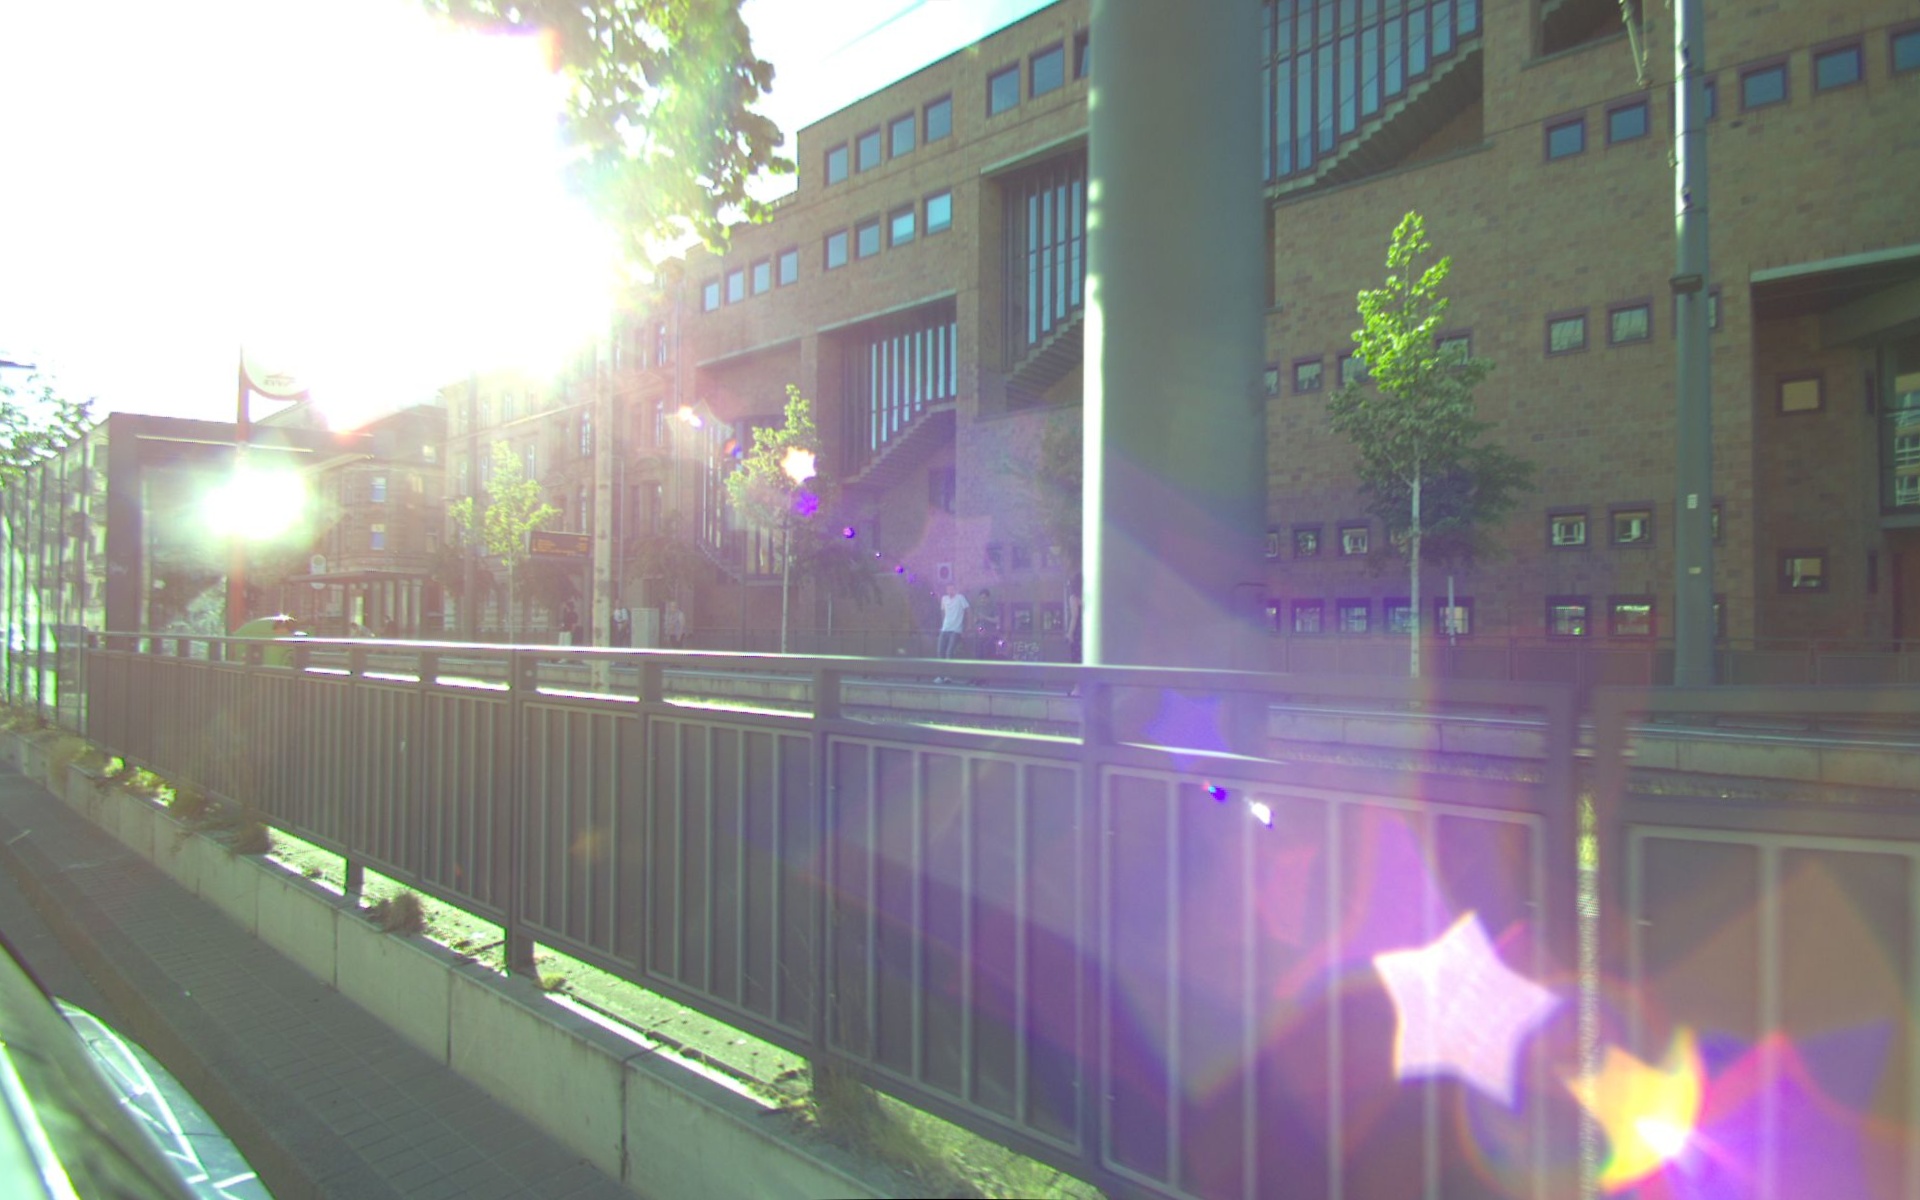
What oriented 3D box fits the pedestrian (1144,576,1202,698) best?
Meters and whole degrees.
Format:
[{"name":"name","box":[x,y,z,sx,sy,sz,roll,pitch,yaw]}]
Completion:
[{"name":"pedestrian","box":[3.142,0.533,14.924,0.616,1.751,0.575,-2,-1,41]}]

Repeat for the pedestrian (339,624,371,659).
[{"name":"pedestrian","box":[-20.923,1.445,34.995,0.721,1.177,0.713,-1,-4,41]}]

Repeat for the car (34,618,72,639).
[{"name":"car","box":[-86.889,2.754,96.941,4.577,1.894,1.975,-1,0,38]}]

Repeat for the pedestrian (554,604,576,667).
[{"name":"pedestrian","box":[-10.491,0.941,26.889,0.416,1.661,0.374,-2,0,41]}]

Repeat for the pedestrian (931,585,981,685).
[{"name":"pedestrian","box":[-0.063,0.609,17.930,0.616,1.728,0.616,-2,-1,41]}]

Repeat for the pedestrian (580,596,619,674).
[{"name":"pedestrian","box":[-8.124,0.784,22.806,0.541,1.708,0.633,-2,0,41]}]

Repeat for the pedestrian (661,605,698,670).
[{"name":"pedestrian","box":[-6.447,0.849,23.267,0.642,1.470,0.533,-2,0,41]}]

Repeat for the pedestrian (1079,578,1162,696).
[{"name":"pedestrian","box":[2.274,0.508,14.362,0.945,1.620,0.633,-2,0,42]}]

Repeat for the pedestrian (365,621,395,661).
[{"name":"pedestrian","box":[-19.329,1.361,33.724,0.721,1.319,0.639,-1,-4,41]}]

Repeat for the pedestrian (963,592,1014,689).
[{"name":"pedestrian","box":[0.485,0.685,17.443,0.616,1.624,0.616,-2,-1,41]}]

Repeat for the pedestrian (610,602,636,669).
[{"name":"pedestrian","box":[-8.381,0.884,25.158,0.553,1.633,0.374,-2,0,42]}]

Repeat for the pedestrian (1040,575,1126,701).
[{"name":"pedestrian","box":[1.683,0.501,13.833,0.945,1.655,0.633,-2,0,42]}]
